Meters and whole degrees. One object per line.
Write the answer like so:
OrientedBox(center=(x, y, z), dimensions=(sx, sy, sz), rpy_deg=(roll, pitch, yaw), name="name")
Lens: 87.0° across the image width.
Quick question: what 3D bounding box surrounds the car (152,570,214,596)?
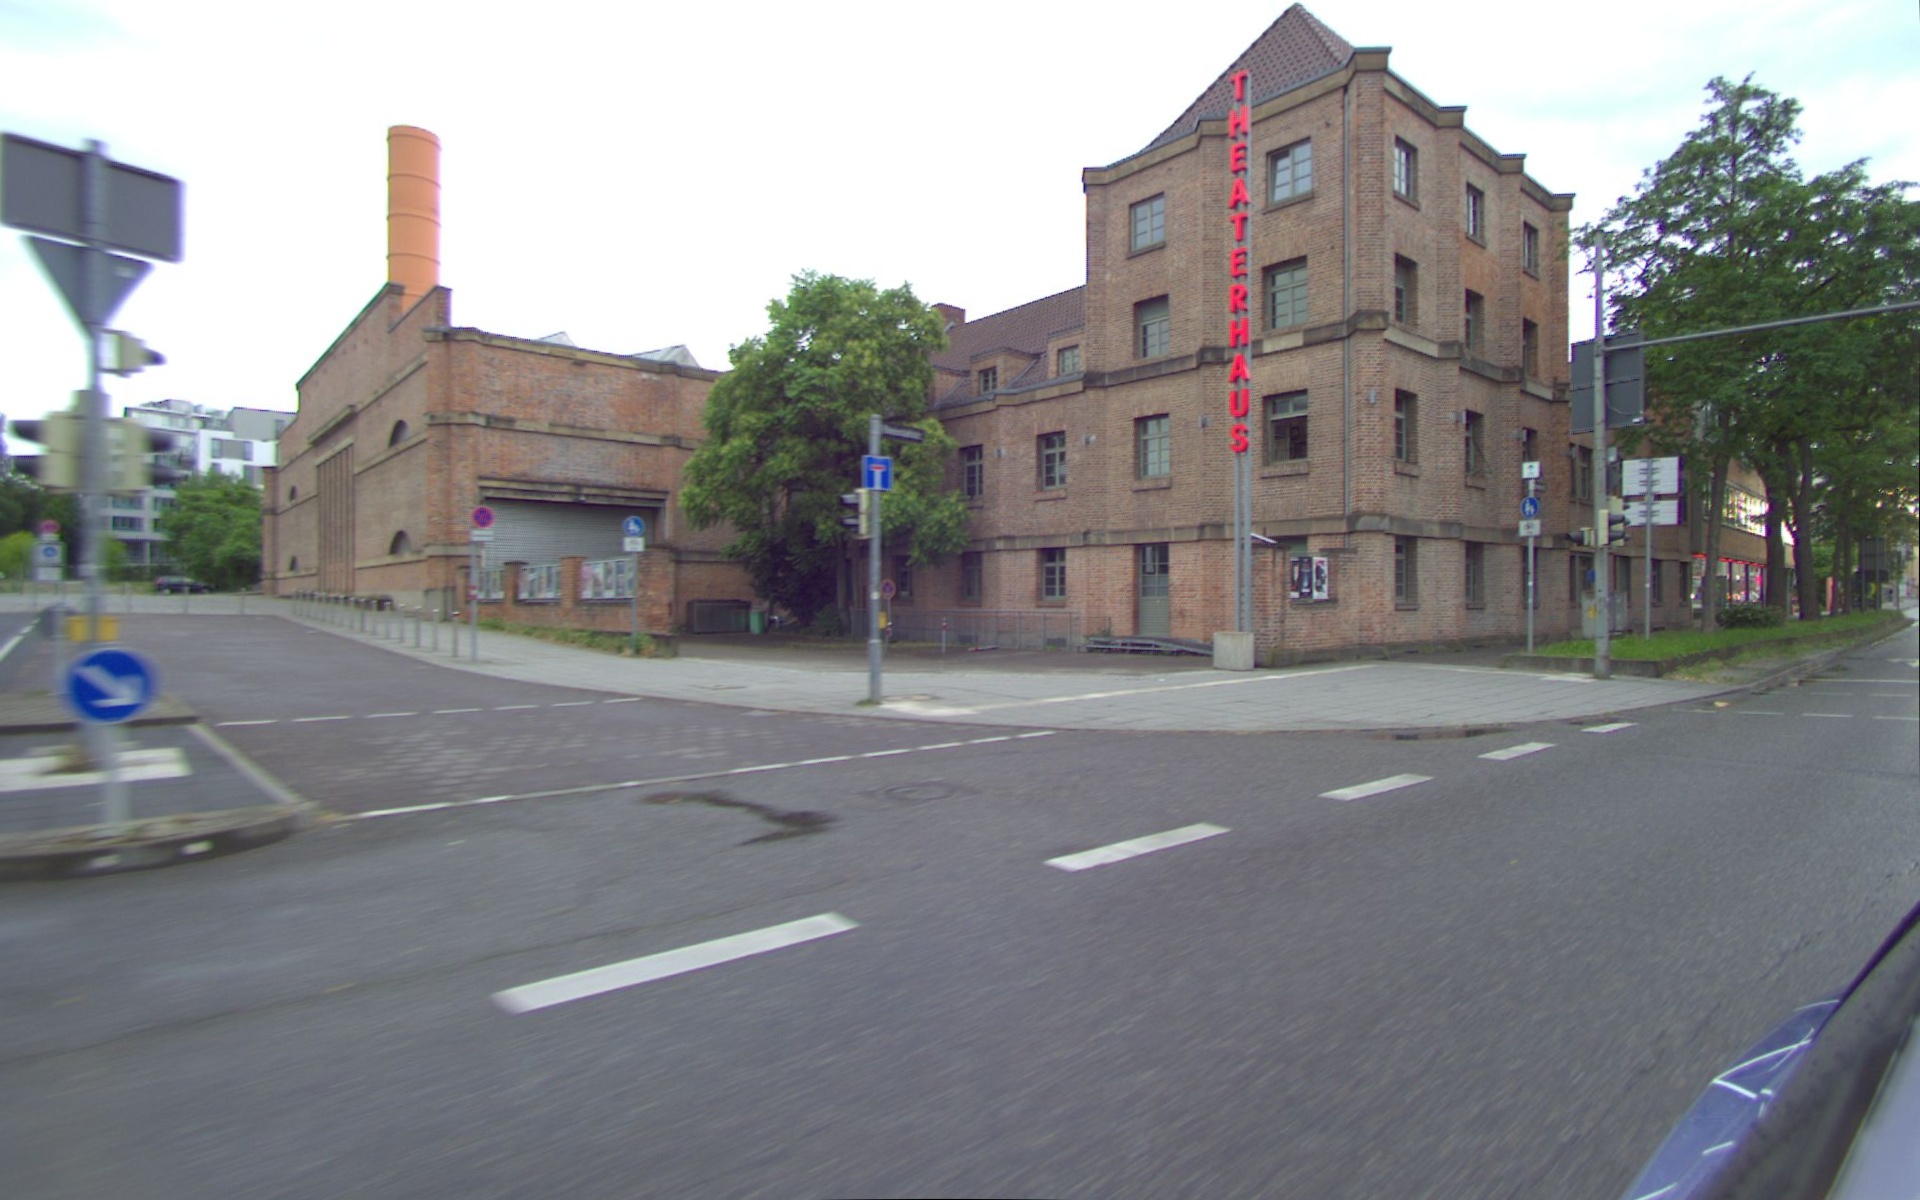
OrientedBox(center=(-63.445, -1.396, 82.661), dimensions=(3.928, 2.039, 1.998), rpy_deg=(-1, 0, -39), name="car")
